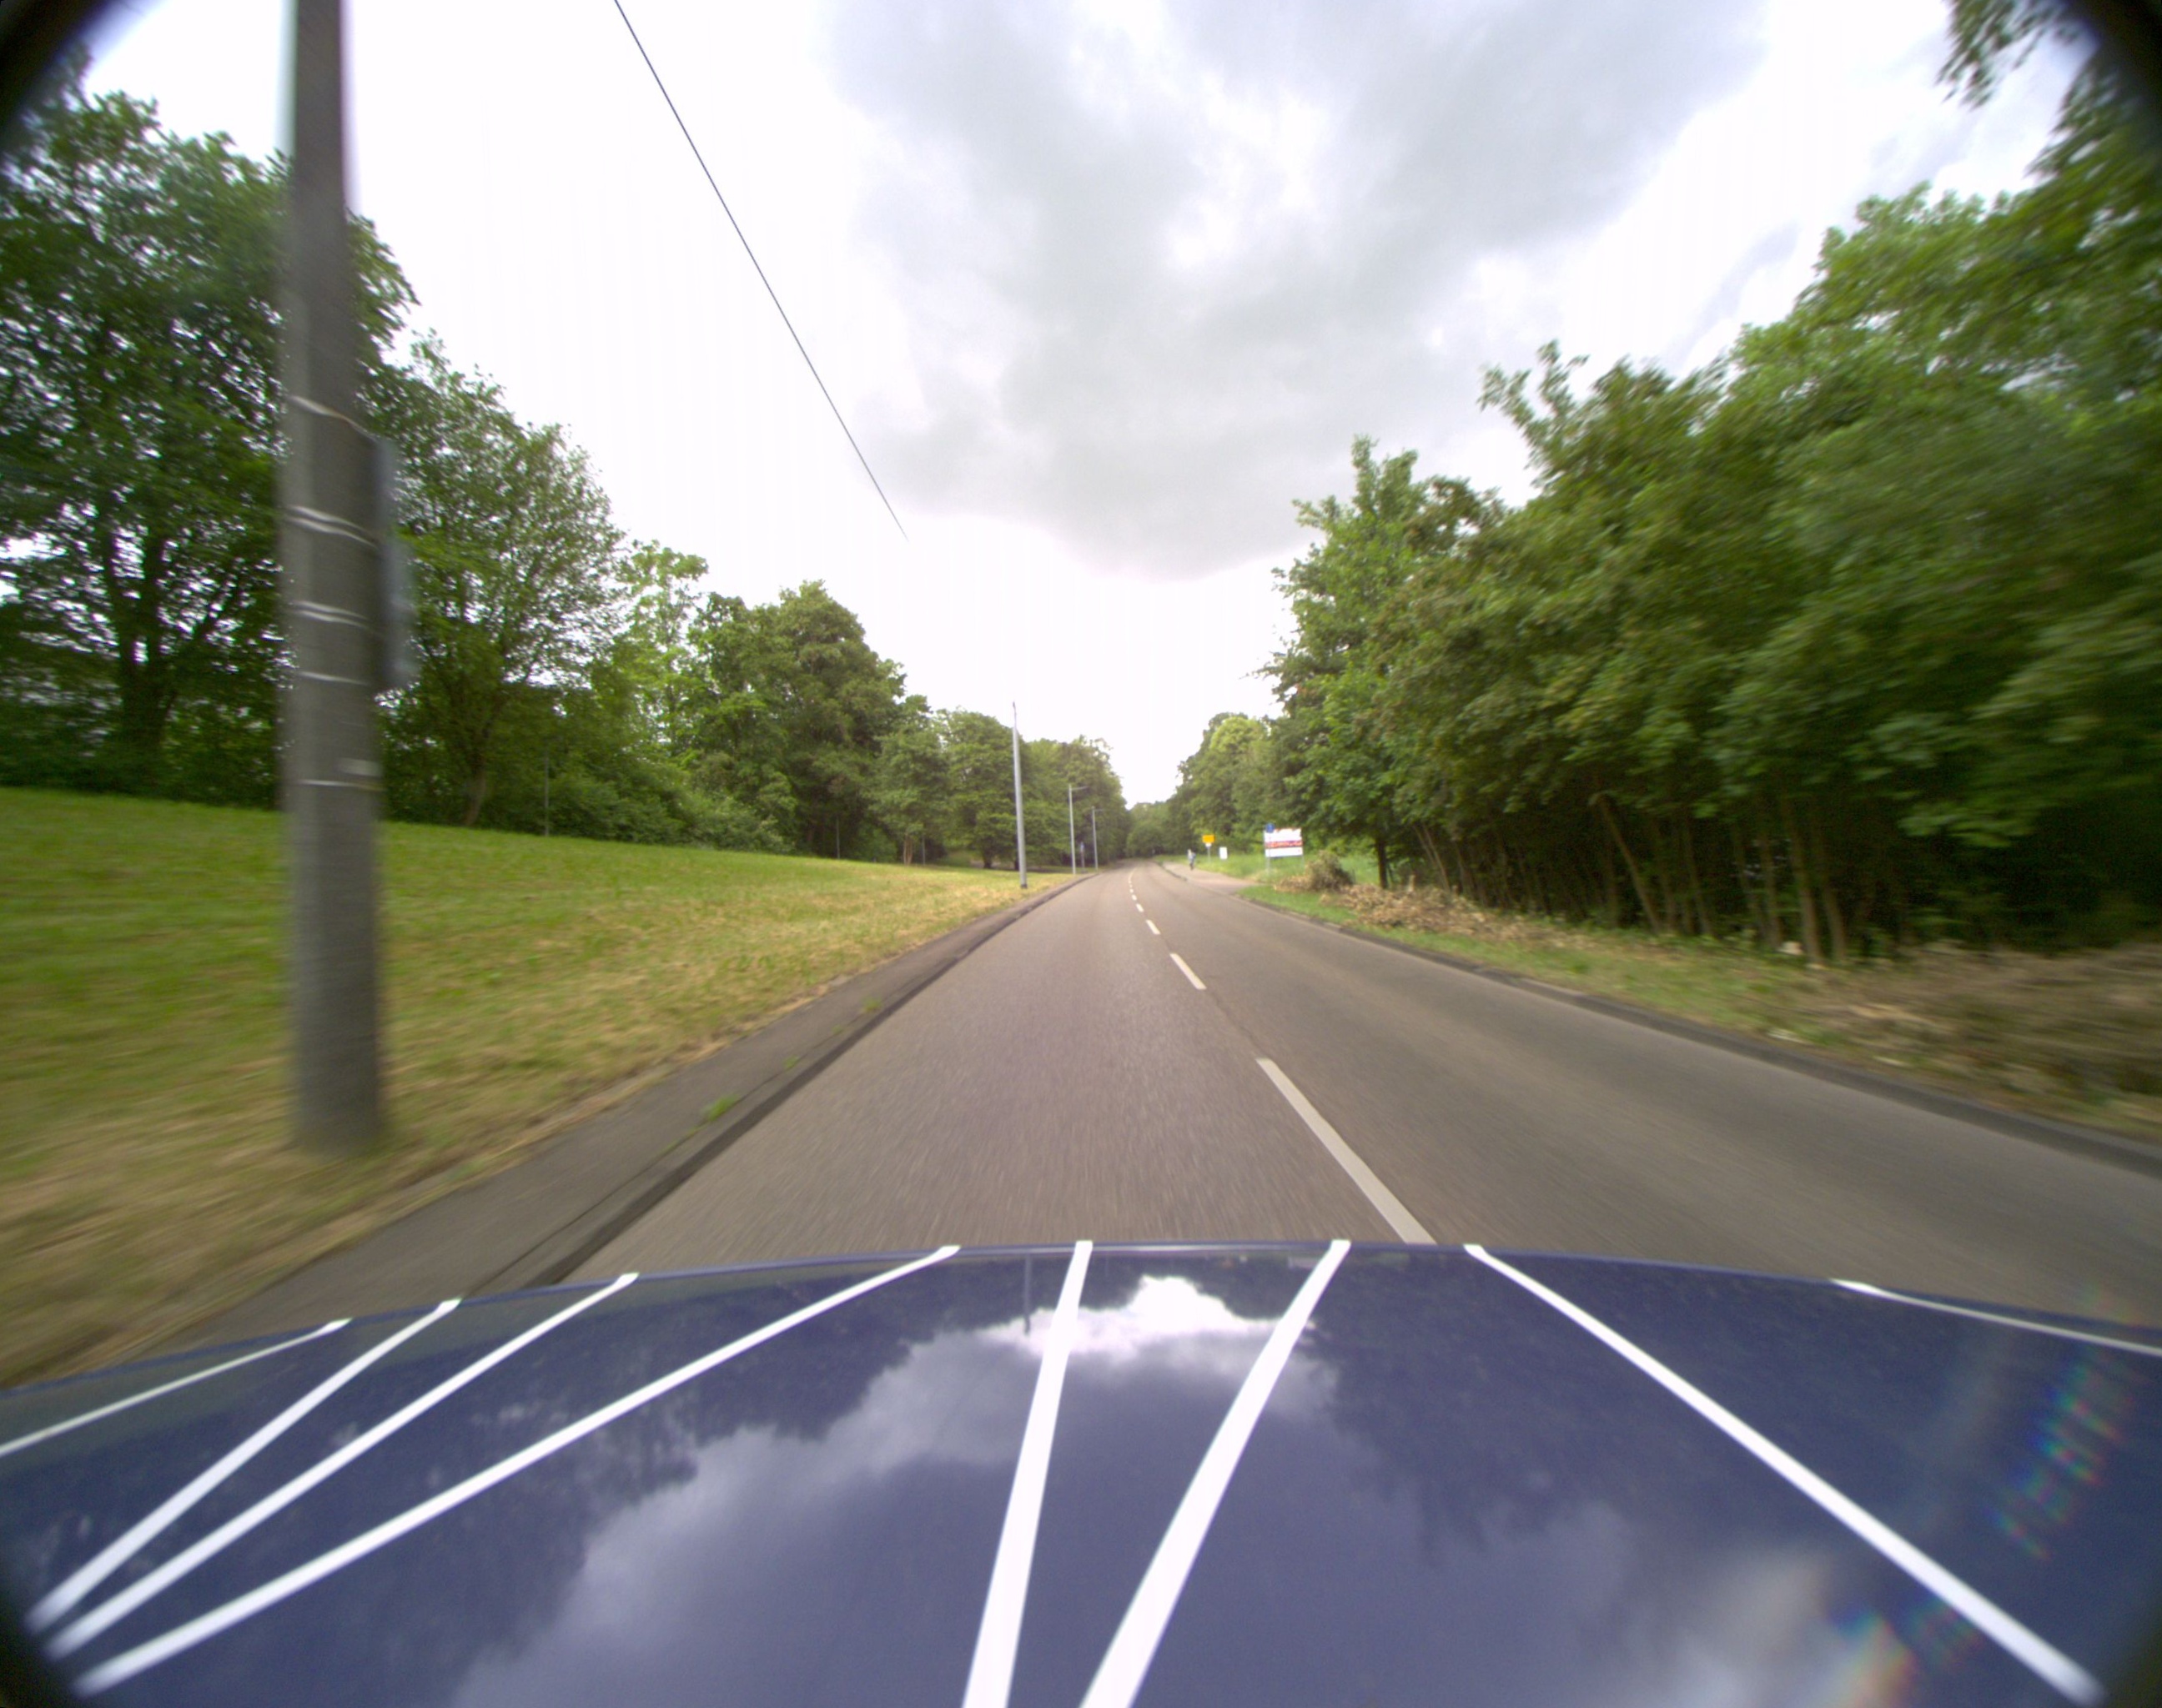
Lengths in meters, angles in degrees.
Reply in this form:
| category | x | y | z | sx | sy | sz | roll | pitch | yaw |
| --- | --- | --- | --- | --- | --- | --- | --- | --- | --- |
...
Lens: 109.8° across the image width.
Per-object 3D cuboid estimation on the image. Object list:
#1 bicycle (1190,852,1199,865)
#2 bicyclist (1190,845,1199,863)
| category | x | y | z | sx | sy | sz | roll | pitch | yaw |
| --- | --- | --- | --- | --- | --- | --- | --- | --- | --- |
| bicycle | 9.561 | 0.395 | 64.089 | 0.667 | 1.068 | 2.147 | -3 | 0 | 7 |
| bicyclist | 9.550 | 0.016 | 64.084 | 0.667 | 1.511 | 1.271 | -3 | 0 | 7 |
